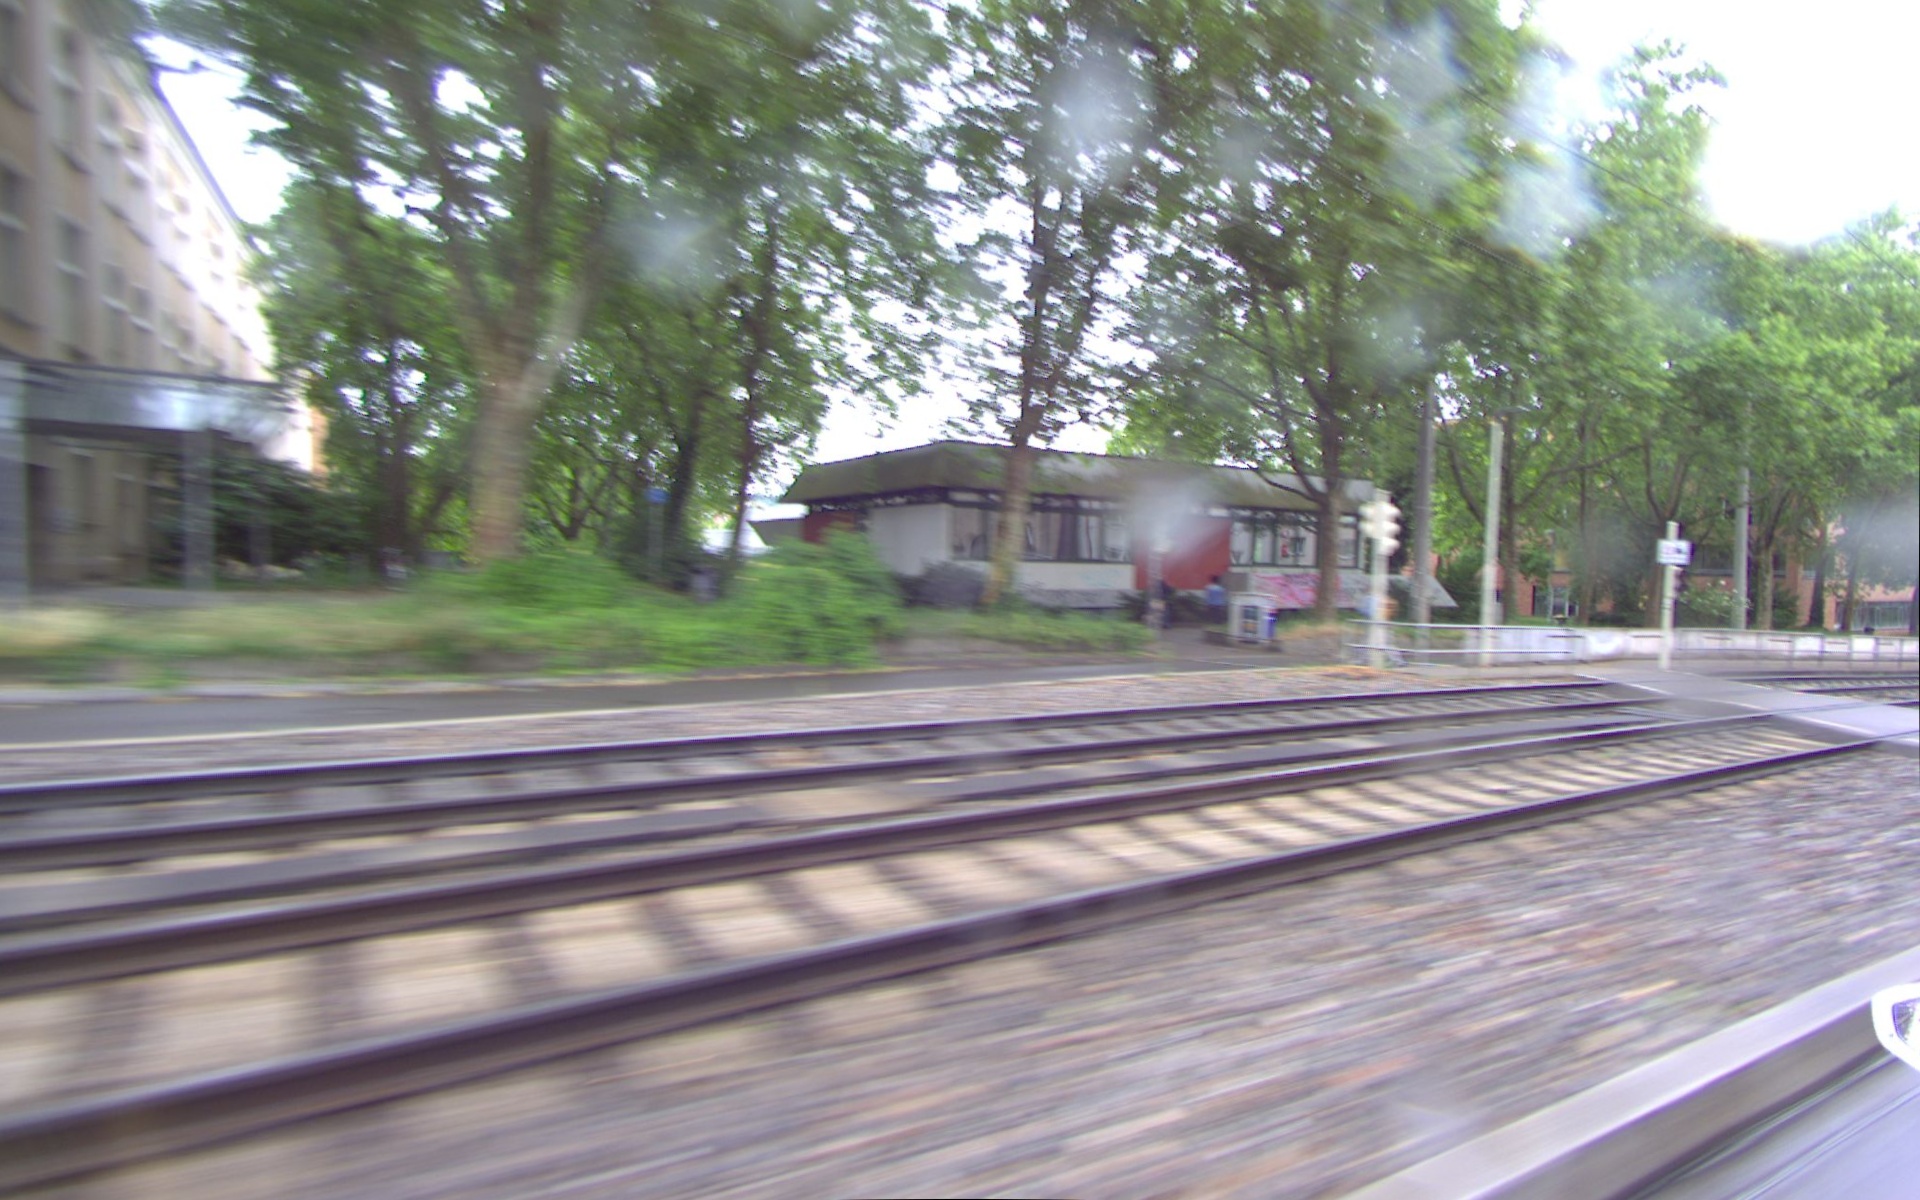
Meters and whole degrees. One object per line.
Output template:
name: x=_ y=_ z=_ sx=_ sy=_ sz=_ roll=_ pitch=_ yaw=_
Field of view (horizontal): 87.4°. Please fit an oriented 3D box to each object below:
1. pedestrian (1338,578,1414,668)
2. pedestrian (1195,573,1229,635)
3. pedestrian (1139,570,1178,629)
pedestrian: x=8.403 y=0.438 z=20.321 sx=0.893 sy=1.742 sz=1.049 roll=0 pitch=2 yaw=-29
pedestrian: x=7.017 y=0.109 z=27.952 sx=0.684 sy=1.684 sz=0.638 roll=2 pitch=1 yaw=40
pedestrian: x=5.856 y=-0.005 z=29.638 sx=1.003 sy=1.706 sz=0.613 roll=0 pitch=0 yaw=-30
